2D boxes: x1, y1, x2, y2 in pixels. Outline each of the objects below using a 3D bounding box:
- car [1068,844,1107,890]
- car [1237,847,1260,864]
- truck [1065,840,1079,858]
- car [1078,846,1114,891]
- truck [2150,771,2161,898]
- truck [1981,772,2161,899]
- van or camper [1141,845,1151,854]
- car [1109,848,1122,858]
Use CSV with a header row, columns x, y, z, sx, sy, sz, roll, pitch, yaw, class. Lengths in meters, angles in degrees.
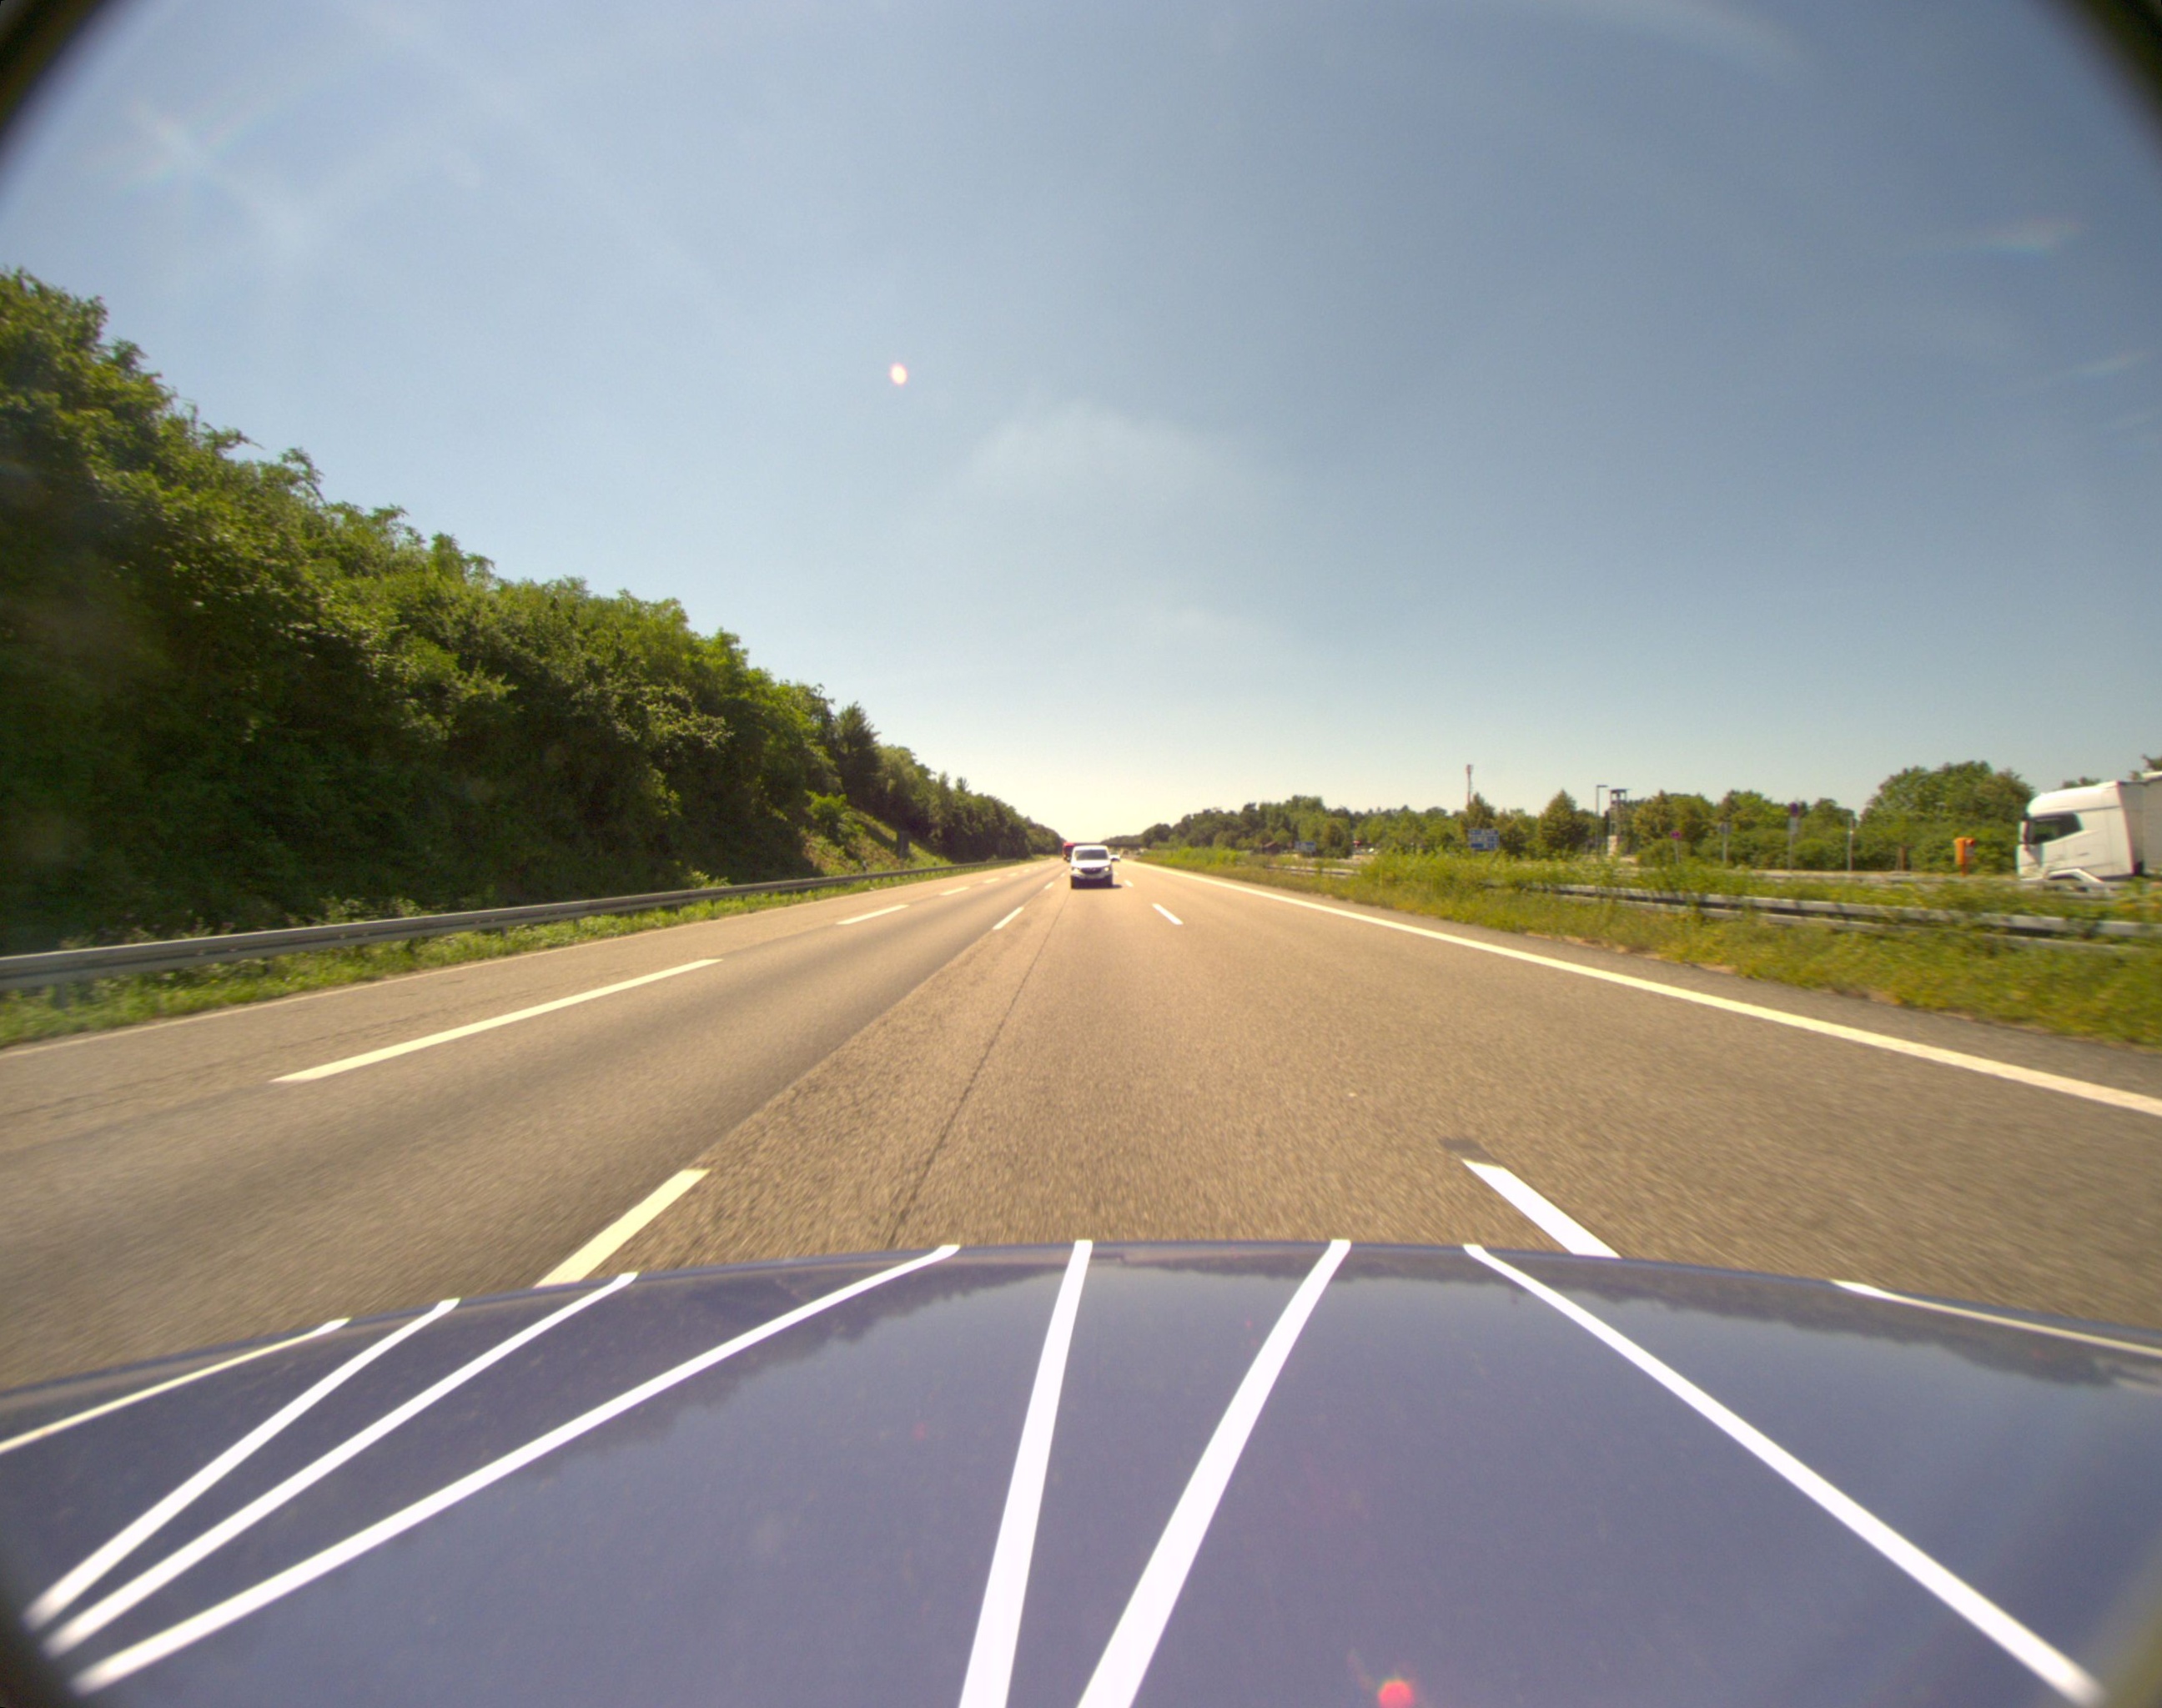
x,y,z,sx,sy,sz,roll,pitch,yaw,class
0.290,0.508,32.724,1.501,1.799,3.394,-2,1,1,car
18.298,0.112,83.218,1.656,1.794,3.800,-2,1,1,car
-1.829,-0.987,159.942,2.540,3.656,5.219,-2,1,2,truck
0.635,0.575,32.627,1.413,1.795,3.200,-2,1,1,car
32.109,-0.536,15.071,2.806,3.622,13.605,-2,1,1,truck
32.212,-0.606,22.948,2.806,3.622,6.146,-2,1,1,truck
20.022,-1.296,235.652,2.424,2.567,6.366,-4,1,1,van or camper
5.339,-0.205,118.128,1.775,1.410,3.401,-2,1,2,car
